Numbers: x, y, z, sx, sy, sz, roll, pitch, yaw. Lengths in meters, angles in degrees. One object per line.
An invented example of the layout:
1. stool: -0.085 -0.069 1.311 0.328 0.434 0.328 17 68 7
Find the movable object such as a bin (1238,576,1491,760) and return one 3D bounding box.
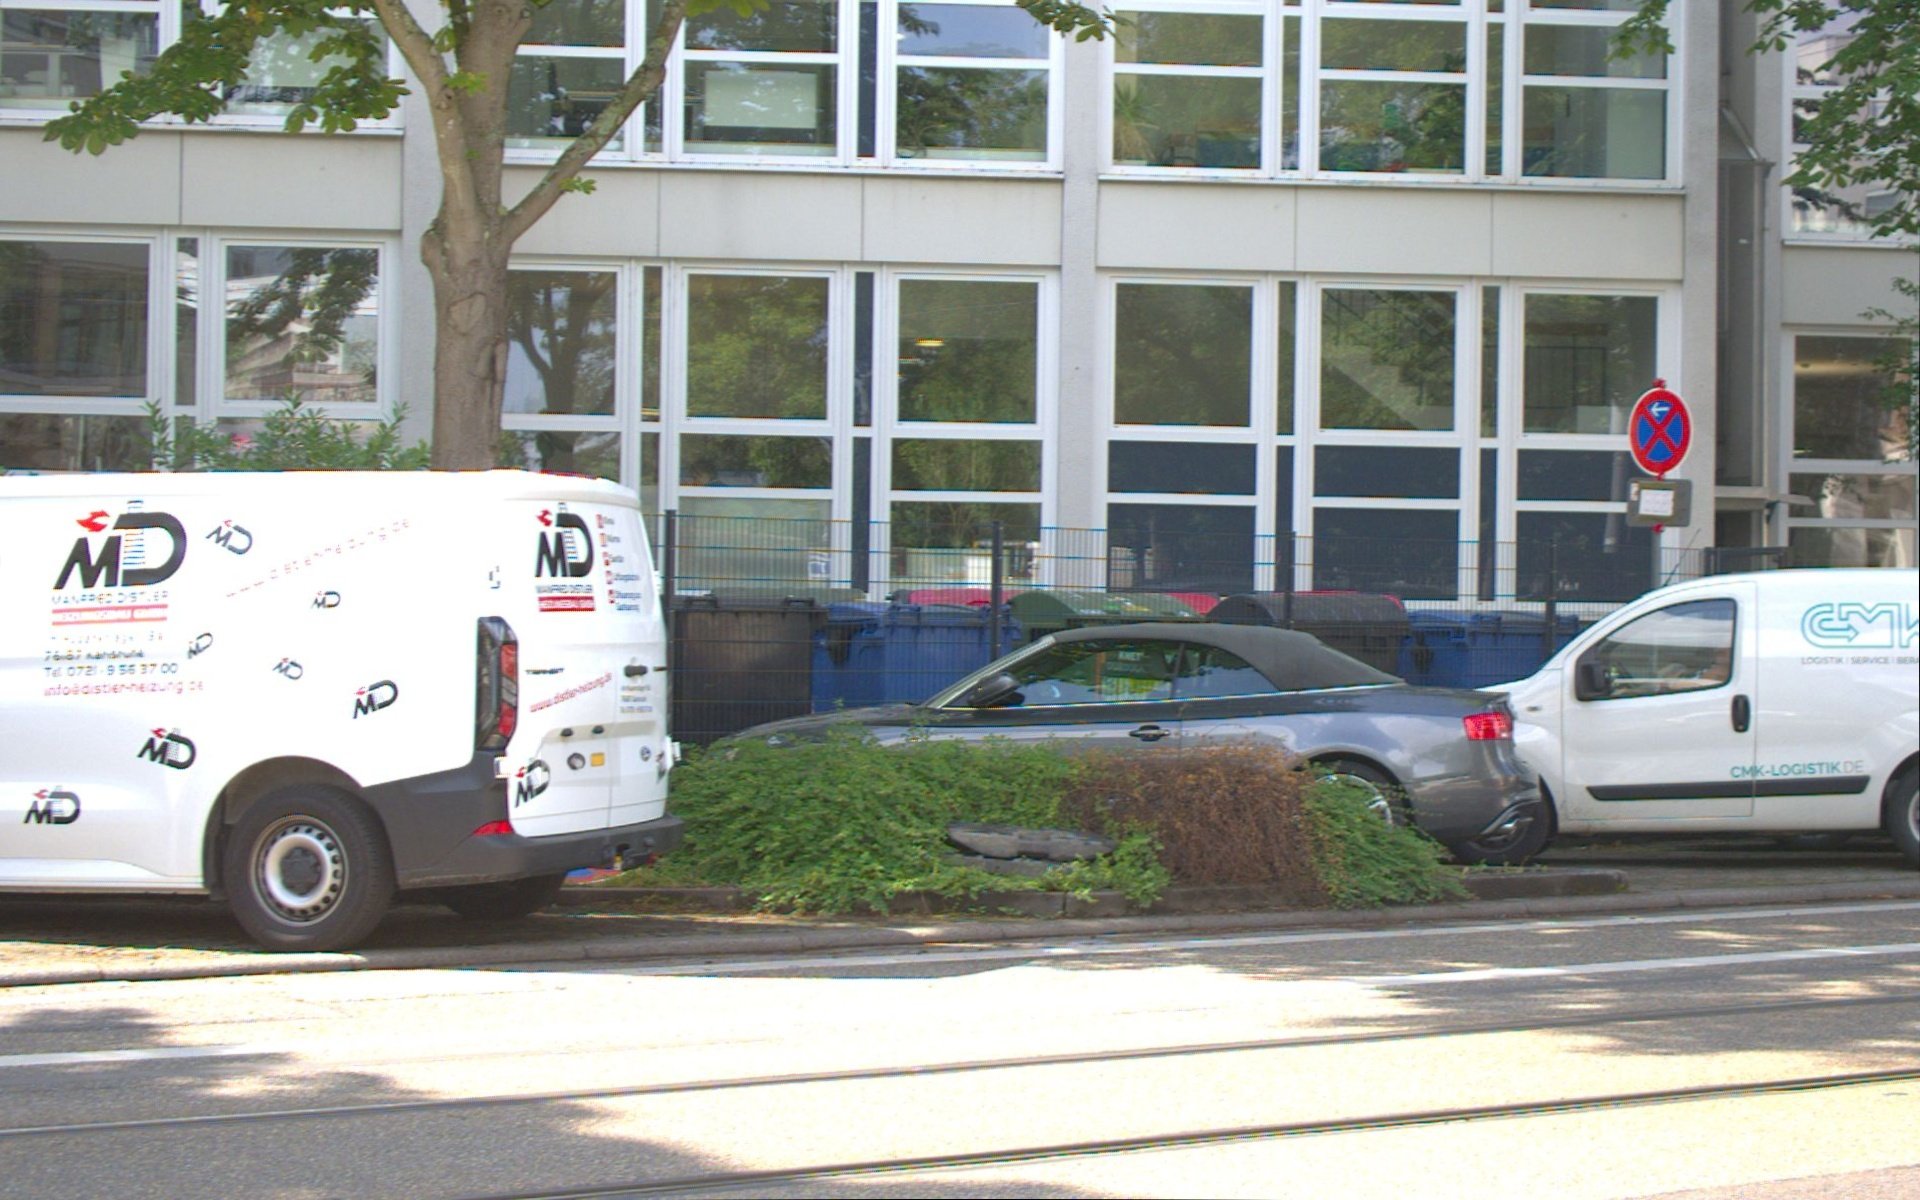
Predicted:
1. movable object such as a bin: 3.020 0.527 25.710 1.437 1.323 1.167 1 -3 -33

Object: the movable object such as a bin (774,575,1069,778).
1. movable object such as a bin: -0.276 0.553 24.089 1.534 1.359 1.391 1 -3 -36

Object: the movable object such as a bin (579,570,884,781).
1. movable object such as a bin: -1.545 0.528 23.151 1.534 1.359 1.391 1 -3 -36

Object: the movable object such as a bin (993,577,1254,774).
1. movable object such as a bin: 1.179 0.561 24.876 1.437 1.376 1.196 1 -3 -35

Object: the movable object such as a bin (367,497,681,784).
1. movable object such as a bin: -2.836 0.294 22.289 1.534 1.776 1.391 1 -3 -36

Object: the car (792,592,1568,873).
1. car: 1.209 0.719 18.603 3.988 1.413 1.722 -1 -2 7

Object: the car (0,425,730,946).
1. car: -3.531 0.311 14.764 4.674 1.990 1.967 0 0 17

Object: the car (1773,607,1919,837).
1. car: 7.223 0.755 21.767 3.989 1.413 1.759 -1 -2 13

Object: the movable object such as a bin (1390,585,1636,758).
1. movable object such as a bin: 4.256 0.566 26.499 1.437 1.279 1.171 1 -3 -33

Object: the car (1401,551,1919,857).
1. car: 4.553 0.613 20.082 3.705 1.687 1.759 -1 -2 15
